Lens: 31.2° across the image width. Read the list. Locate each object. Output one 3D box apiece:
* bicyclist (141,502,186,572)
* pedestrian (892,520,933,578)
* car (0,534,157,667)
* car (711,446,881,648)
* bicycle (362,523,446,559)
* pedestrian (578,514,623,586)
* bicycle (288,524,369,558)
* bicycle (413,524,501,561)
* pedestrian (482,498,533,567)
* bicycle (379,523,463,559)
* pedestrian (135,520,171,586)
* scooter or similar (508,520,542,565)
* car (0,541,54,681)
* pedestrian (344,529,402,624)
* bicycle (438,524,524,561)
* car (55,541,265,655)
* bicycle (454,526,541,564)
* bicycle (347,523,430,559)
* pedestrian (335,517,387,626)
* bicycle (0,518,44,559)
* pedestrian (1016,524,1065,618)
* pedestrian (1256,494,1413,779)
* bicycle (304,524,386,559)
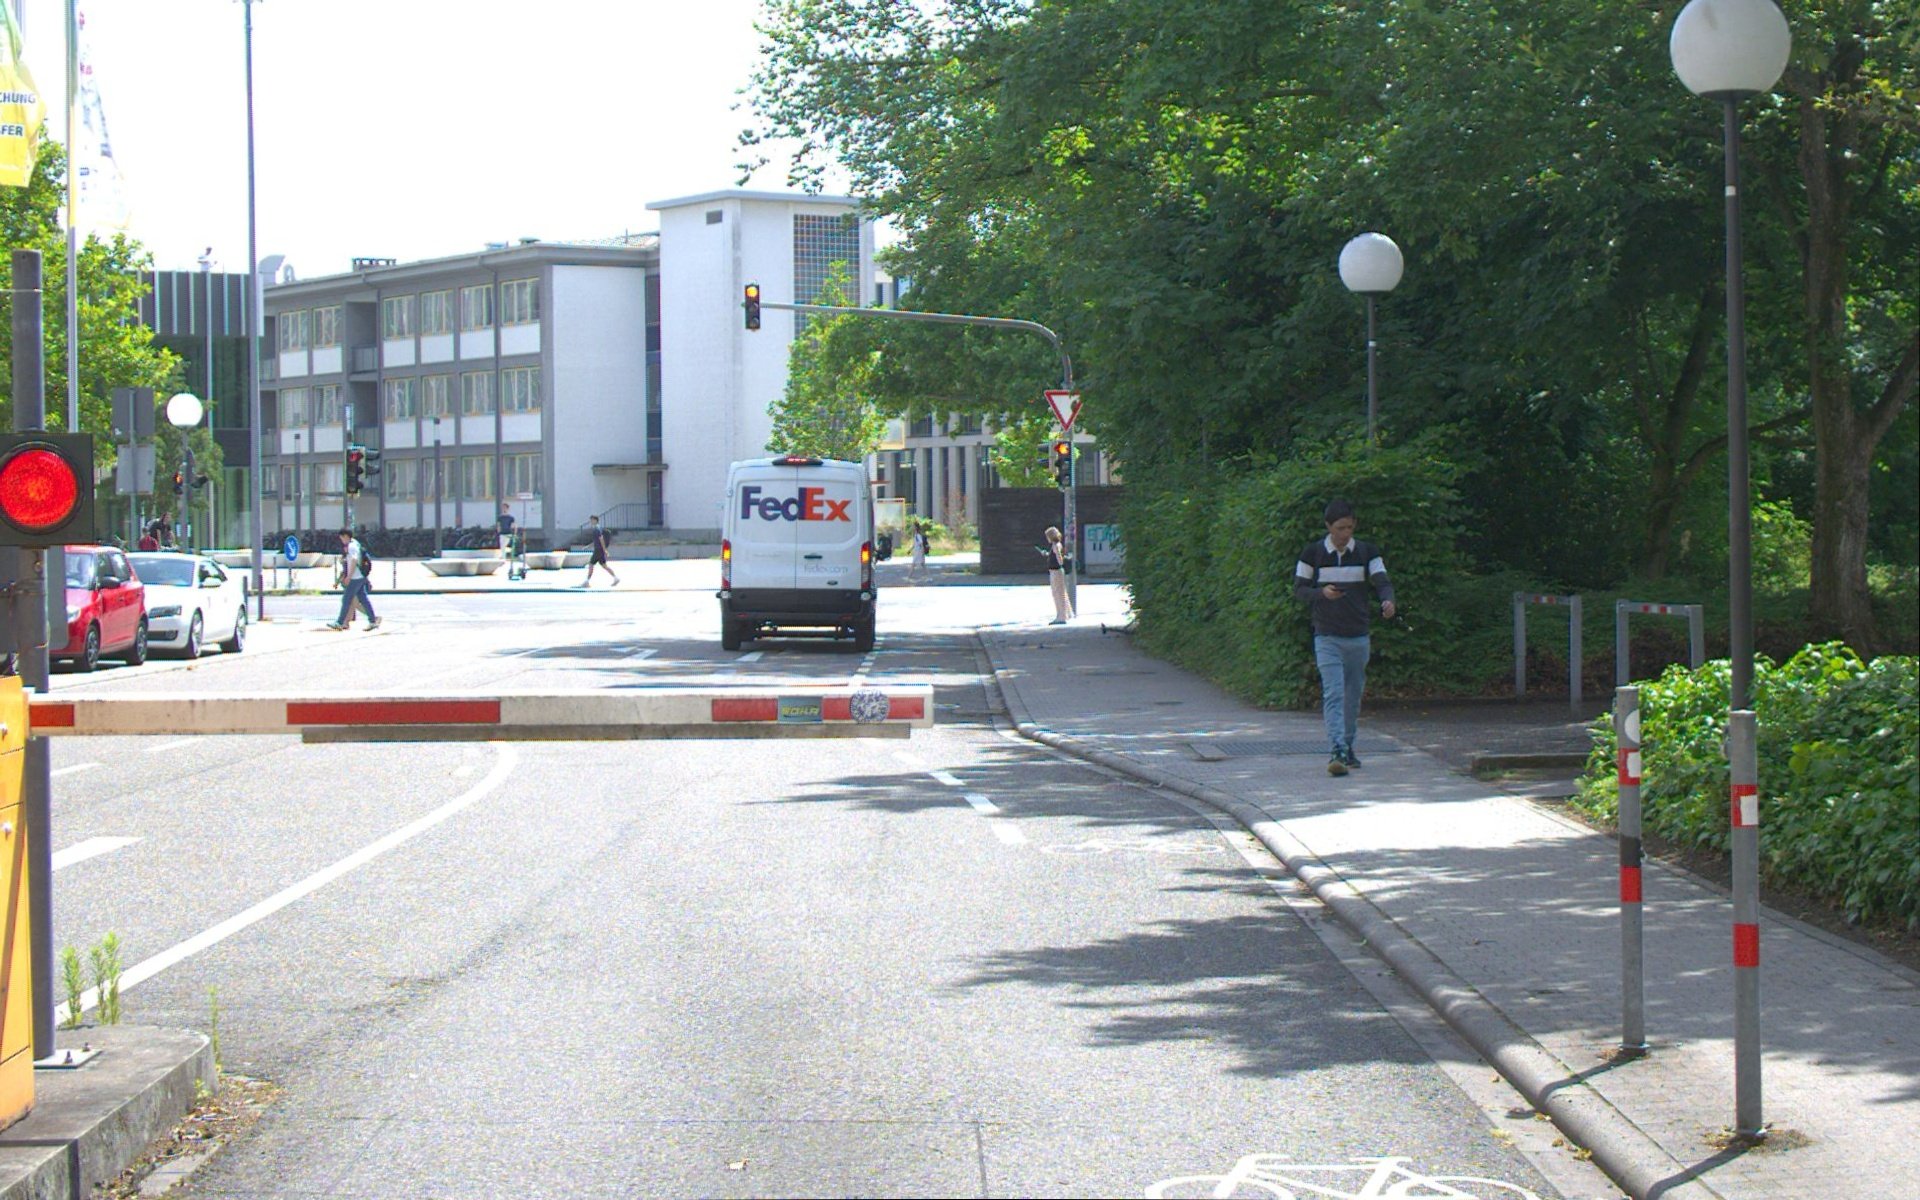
[{"bbox_3d":[-20.892,-1.664,90.185,0.790,1.811,0.999,-1,2,10],"label":"bicyclist"},{"bbox_3d":[-1.238,-1.332,89.772,0.824,1.518,0.815,-1,1,-19],"label":"pedestrian"},{"bbox_3d":[-10.938,-0.030,41.140,1.676,1.462,3.911,2,1,0],"label":"car"},{"bbox_3d":[-2.169,-0.761,46.901,2.095,2.558,5.603,-1,2,-1],"label":"car"},{"bbox_3d":[-21.028,-2.240,130.077,2.956,1.359,1.117,-1,1,-37],"label":"bicycle"},{"bbox_3d":[-9.364,-1.308,89.654,1.080,1.864,0.832,-1,1,-2],"label":"pedestrian"},{"bbox_3d":[-24.892,-2.325,135.546,2.956,1.359,1.117,-1,1,-37],"label":"bicycle"},{"bbox_3d":[-18.545,-2.134,126.836,2.956,1.359,1.275,-1,1,-37],"label":"bicycle"},{"bbox_3d":[-13.279,-1.969,100.898,1.141,2.007,1.155,0,1,14],"label":"pedestrian"},{"bbox_3d":[-20.231,-2.219,129.018,2.956,1.359,1.117,-1,1,-37],"label":"bicycle"},{"bbox_3d":[-20.641,-1.199,87.938,0.753,1.672,0.755,-1,1,-3],"label":"pedestrian"},{"bbox_3d":[-11.649,-1.537,91.992,0.716,1.174,2.726,-1,1,-11],"label":"scooter or similar"},{"bbox_3d":[-11.052,0.108,36.281,1.748,1.462,4.196,2,1,1],"label":"car"},{"bbox_3d":[-10.213,-0.414,59.815,0.843,1.645,0.746,0,1,2],"label":"pedestrian"},{"bbox_3d":[-17.490,-2.106,125.569,2.956,1.359,1.117,-1,1,-37],"label":"bicycle"},{"bbox_3d":[-10.723,-0.062,46.383,1.676,1.390,4.662,2,1,0],"label":"car"},{"bbox_3d":[-16.742,-1.977,124.469,2.956,1.359,1.117,-1,1,-37],"label":"bicycle"},{"bbox_3d":[-21.805,-2.235,131.133,2.956,1.359,1.117,-1,1,-37],"label":"bicycle"},{"bbox_3d":[-10.246,-0.495,58.838,0.719,1.853,0.770,0,1,2],"label":"pedestrian"},{"bbox_3d":[-28.722,-1.858,103.553,1.197,1.233,2.951,-1,1,-37],"label":"bicycle"},{"bbox_3d":[1.351,-0.494,57.870,0.731,1.570,0.776,1,1,-5],"label":"pedestrian"},{"bbox_3d":[2.254,0.201,20.822,0.739,1.669,1.257,0,1,-3],"label":"pedestrian"},{"bbox_3d":[-23.983,-2.293,134.060,2.956,1.359,1.117,-1,1,-37],"label":"bicycle"}]
